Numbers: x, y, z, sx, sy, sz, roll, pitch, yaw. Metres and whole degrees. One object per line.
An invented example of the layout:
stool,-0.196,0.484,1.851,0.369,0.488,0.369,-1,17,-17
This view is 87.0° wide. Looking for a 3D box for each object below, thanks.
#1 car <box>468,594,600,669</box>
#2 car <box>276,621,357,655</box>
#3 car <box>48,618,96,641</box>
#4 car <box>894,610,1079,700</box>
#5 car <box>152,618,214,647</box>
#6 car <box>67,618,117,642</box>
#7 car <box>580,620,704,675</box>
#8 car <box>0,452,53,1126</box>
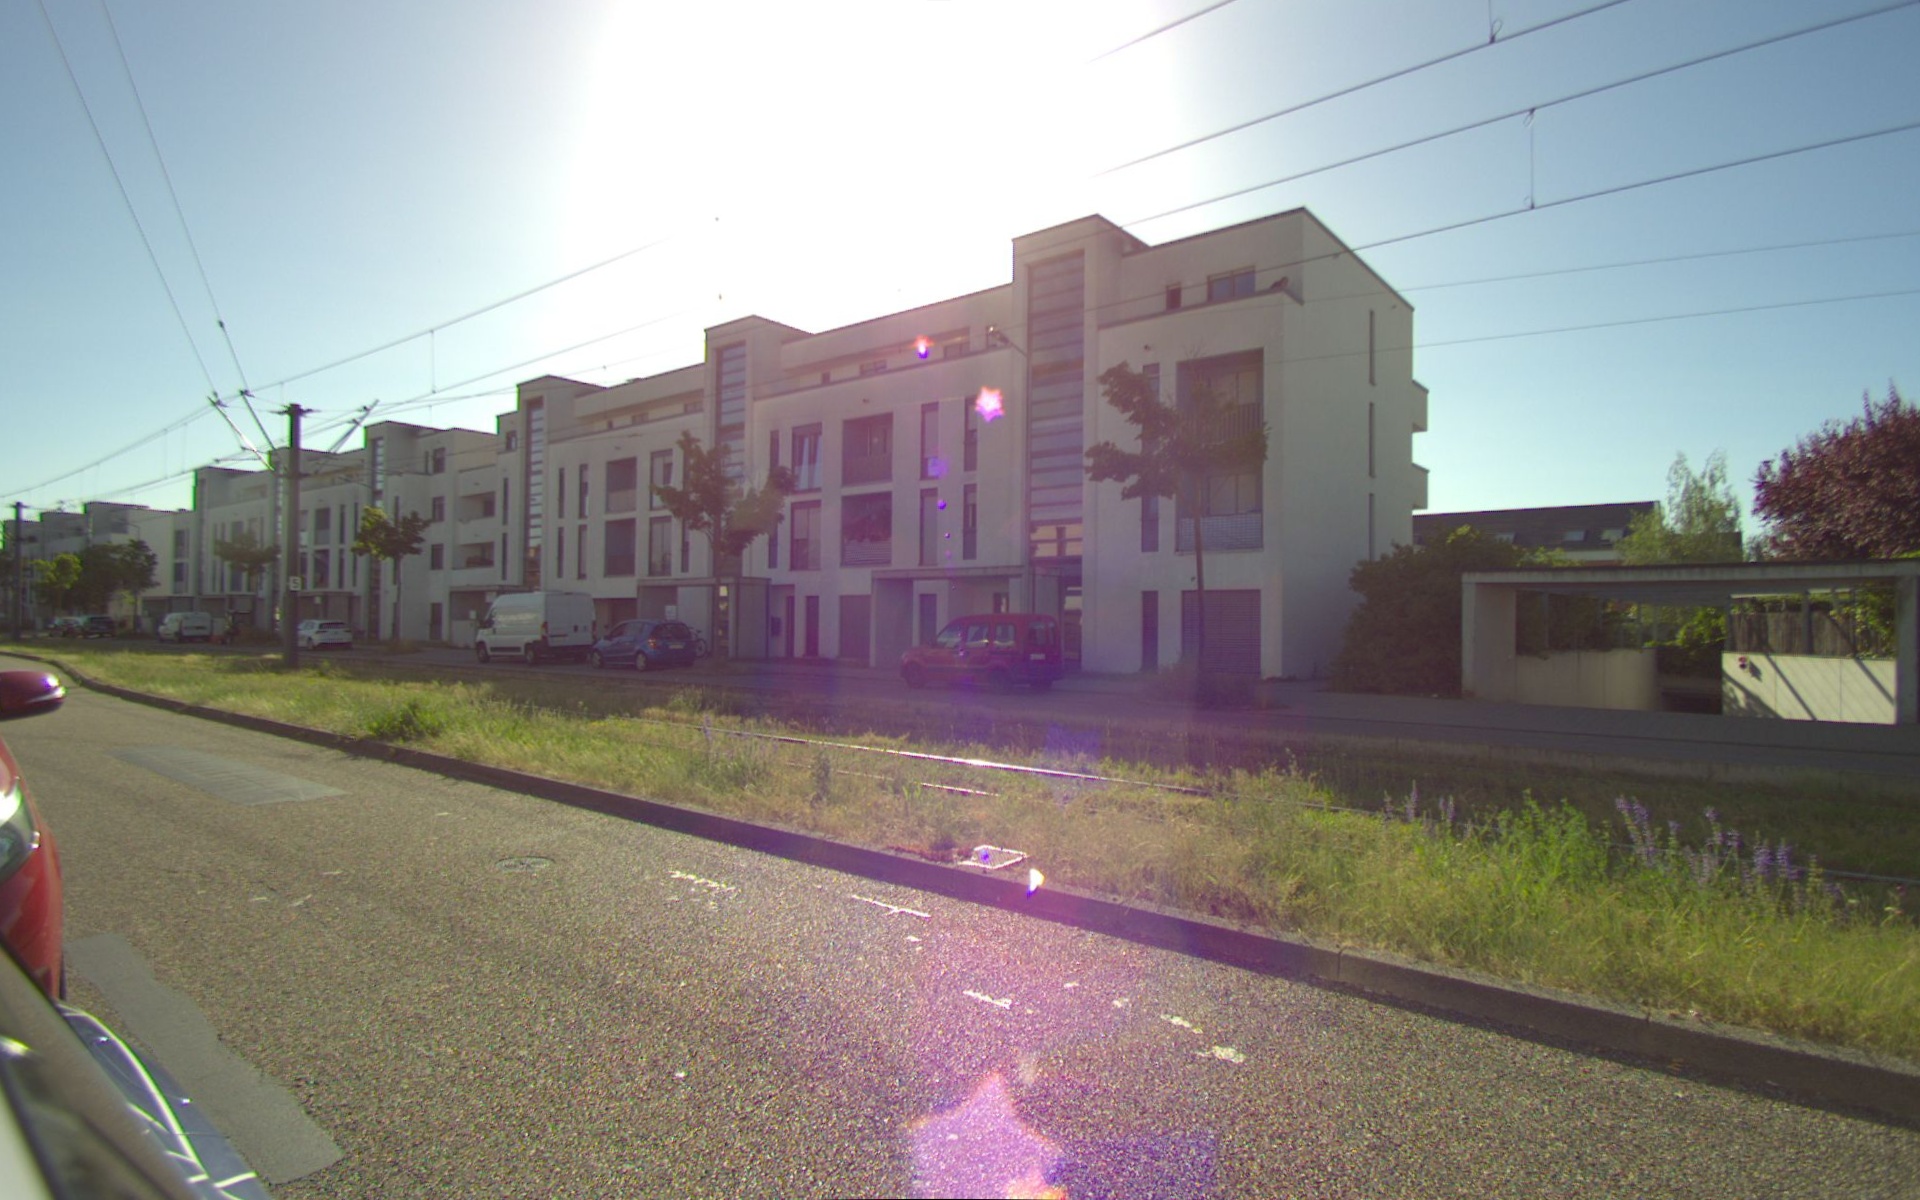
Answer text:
car,-15.192,1.064,35.950,5.193,2.491,2.197,-1,0,40
car,-31.132,1.825,48.905,4.277,1.517,1.900,-1,0,37
car,-67.518,2.235,76.936,4.277,1.693,1.900,-1,0,37
car,0.541,1.161,23.024,3.895,1.842,1.972,-1,0,43
car,-47.352,1.945,61.631,4.277,1.693,1.900,-1,0,37
car,-62.973,2.145,73.412,4.277,1.693,1.900,-1,0,37
car,-9.997,1.438,31.745,3.833,1.556,1.973,-1,0,40
car,-4.888,0.551,3.675,4.505,1.868,1.850,-1,0,41
